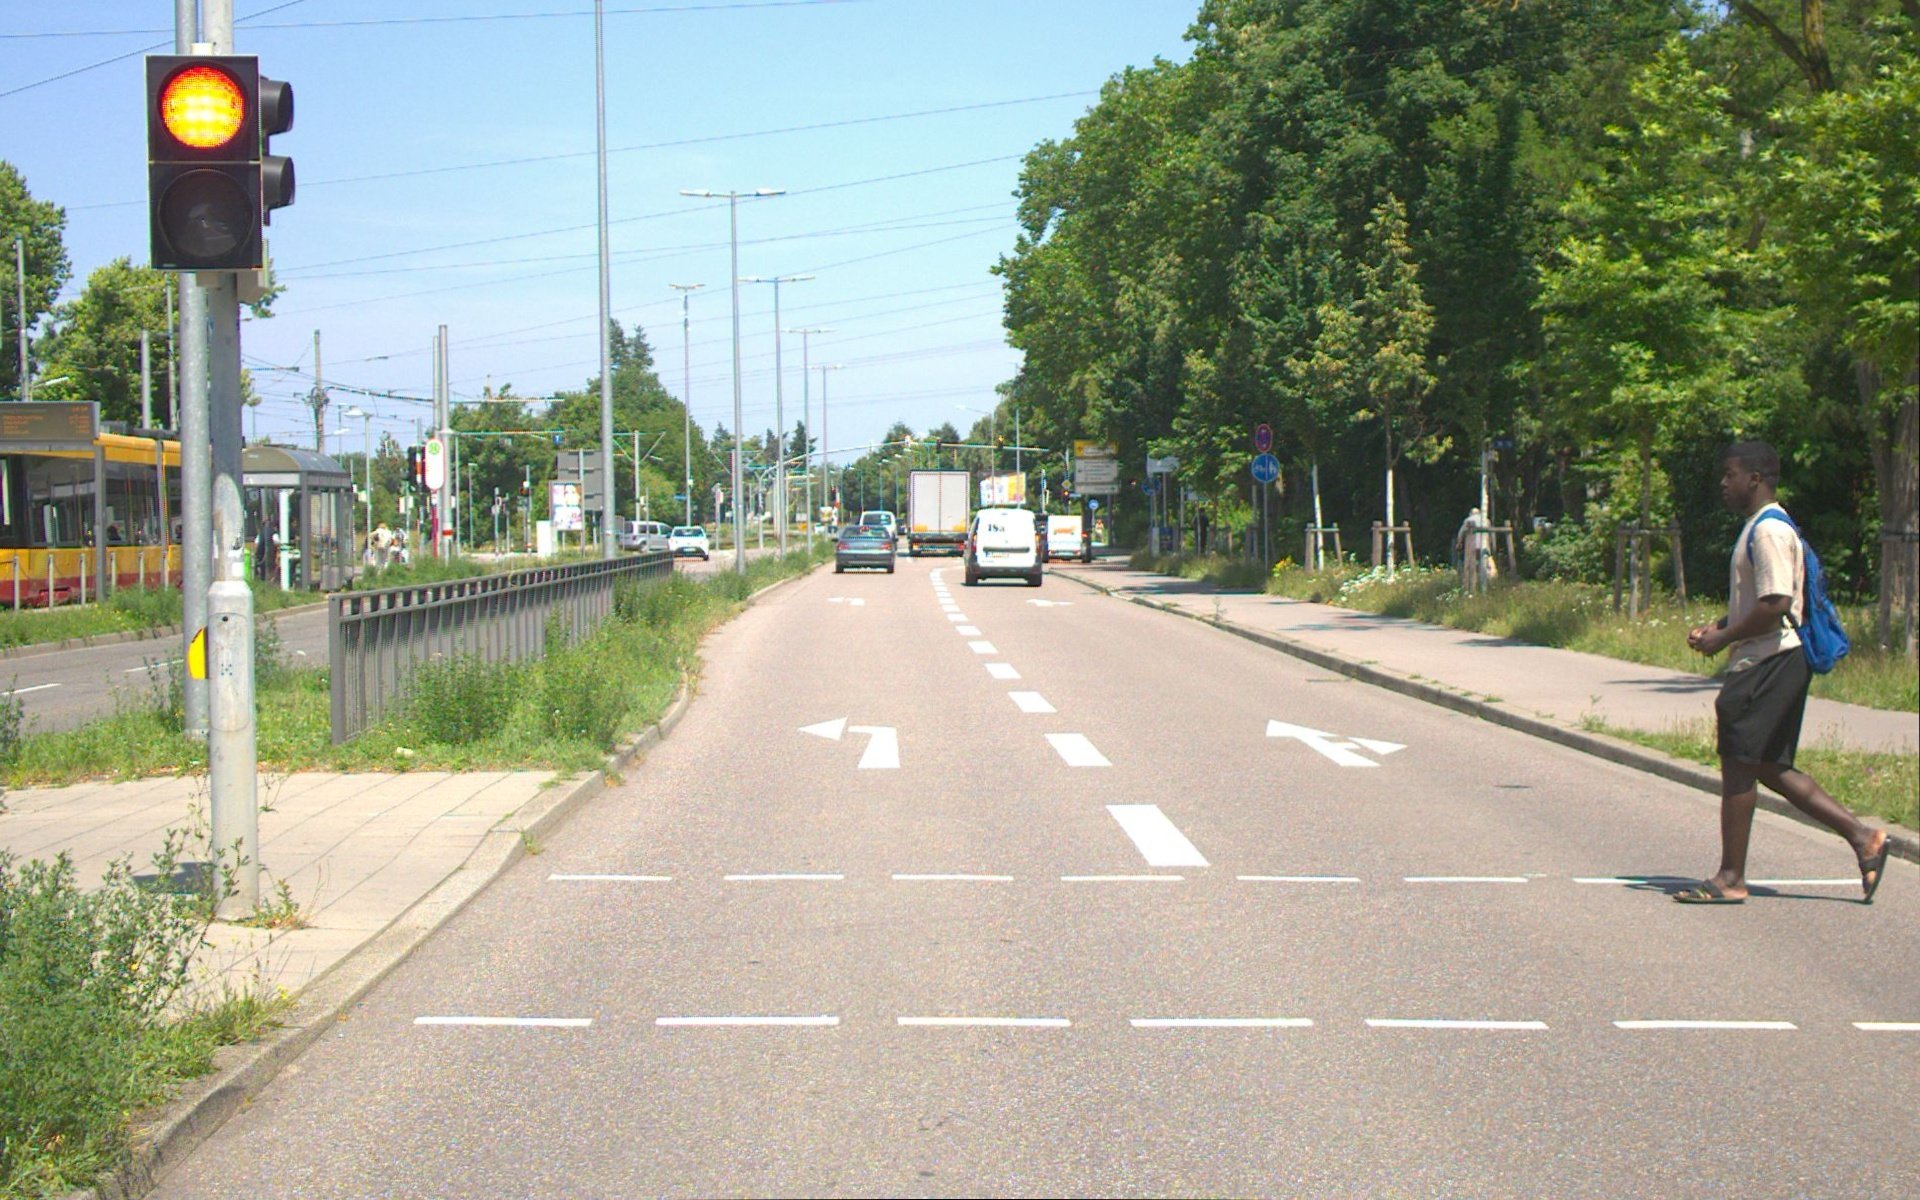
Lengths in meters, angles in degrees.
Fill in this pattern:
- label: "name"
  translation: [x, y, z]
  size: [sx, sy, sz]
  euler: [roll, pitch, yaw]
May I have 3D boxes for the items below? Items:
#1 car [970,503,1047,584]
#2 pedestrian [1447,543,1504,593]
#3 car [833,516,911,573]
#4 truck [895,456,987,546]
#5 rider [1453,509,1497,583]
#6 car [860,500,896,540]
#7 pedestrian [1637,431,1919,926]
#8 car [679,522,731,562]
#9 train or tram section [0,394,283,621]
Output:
- label: "car"
  translation: [1.146, -1.348, 80.446]
  size: [1.728, 1.807, 4.000]
  euler: [1, 2, 1]
- label: "pedestrian"
  translation: [8.964, -0.566, 59.828]
  size: [0.678, 0.845, 1.774]
  euler: [0, 1, -1]
- label: "car"
  translation: [-2.523, -1.618, 99.351]
  size: [1.802, 1.481, 4.000]
  euler: [4, 2, 4]
- label: "truck"
  translation: [-0.920, -4.359, 151.966]
  size: [3.899, 3.799, 10.794]
  euler: [0, 1, -1]
- label: "rider"
  translation: [8.955, -0.939, 59.814]
  size: [0.678, 1.277, 0.534]
  euler: [0, 1, -1]
- label: "car"
  translation: [-4.002, -3.917, 168.159]
  size: [1.687, 1.891, 3.871]
  euler: [0, 1, -1]
- label: "pedestrian"
  translation: [3.181, 0.282, 13.298]
  size: [1.047, 1.844, 0.757]
  euler: [1, 1, 14]
- label: "car"
  translation: [-10.994, -2.514, 148.409]
  size: [1.993, 1.644, 4.000]
  euler: [0, 1, -1]
- label: "train or tram section"
  translation: [-17.052, -1.770, 67.587]
  size: [2.787, 3.655, 26.002]
  euler: [0, 1, -1]
